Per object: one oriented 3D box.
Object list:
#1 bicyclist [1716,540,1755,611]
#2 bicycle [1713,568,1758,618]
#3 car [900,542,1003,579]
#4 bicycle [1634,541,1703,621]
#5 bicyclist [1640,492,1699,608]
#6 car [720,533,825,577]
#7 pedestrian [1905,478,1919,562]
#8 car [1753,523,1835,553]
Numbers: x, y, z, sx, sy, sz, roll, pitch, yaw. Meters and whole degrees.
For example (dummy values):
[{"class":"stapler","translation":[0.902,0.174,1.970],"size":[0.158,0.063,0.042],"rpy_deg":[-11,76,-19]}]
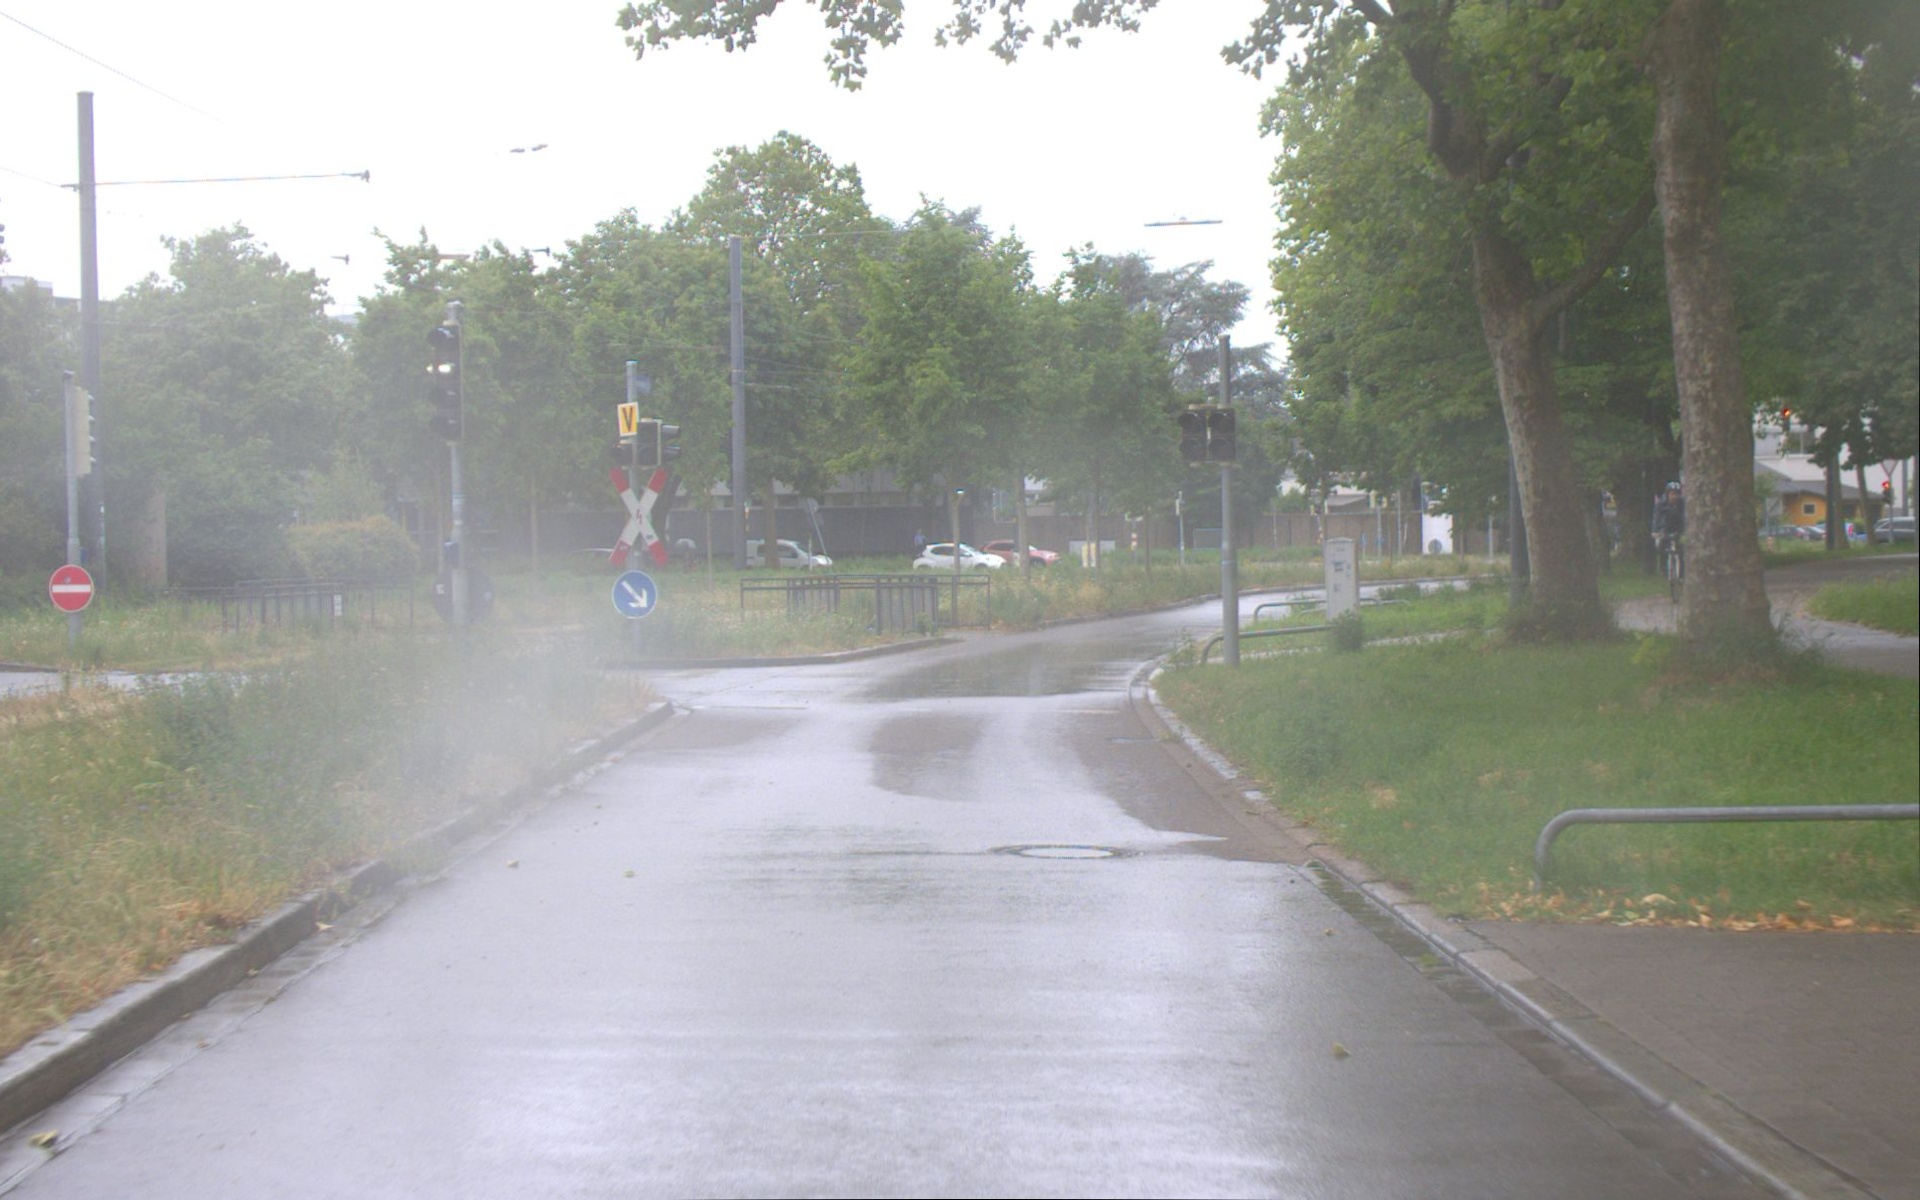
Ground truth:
[{"class":"bicyclist","translation":[11.529,-0.368,51.074],"size":[0.487,1.035,0.591],"rpy_deg":[-1,1,19]},{"class":"bicycle","translation":[11.534,-0.103,51.090],"size":[0.487,0.706,1.456],"rpy_deg":[-1,1,19]},{"class":"car","translation":[-0.345,-1.698,146.576],"size":[4.068,1.494,1.651],"rpy_deg":[-1,0,16]},{"class":"bicycle","translation":[10.633,-0.297,51.556],"size":[0.712,1.138,1.970],"rpy_deg":[0,2,20]},{"class":"bicyclist","translation":[10.645,-0.751,51.595],"size":[0.712,1.715,0.956],"rpy_deg":[0,2,20]},{"class":"car","translation":[-8.134,-1.954,149.220],"size":[4.213,1.790,1.651],"rpy_deg":[-1,2,18]},{"class":"pedestrian","translation":[19.925,-1.641,69.962],"size":[1.034,1.689,0.852],"rpy_deg":[0,1,41]},{"class":"car","translation":[43.416,-3.219,178.911],"size":[3.756,1.437,1.759],"rpy_deg":[-1,1,31]}]
